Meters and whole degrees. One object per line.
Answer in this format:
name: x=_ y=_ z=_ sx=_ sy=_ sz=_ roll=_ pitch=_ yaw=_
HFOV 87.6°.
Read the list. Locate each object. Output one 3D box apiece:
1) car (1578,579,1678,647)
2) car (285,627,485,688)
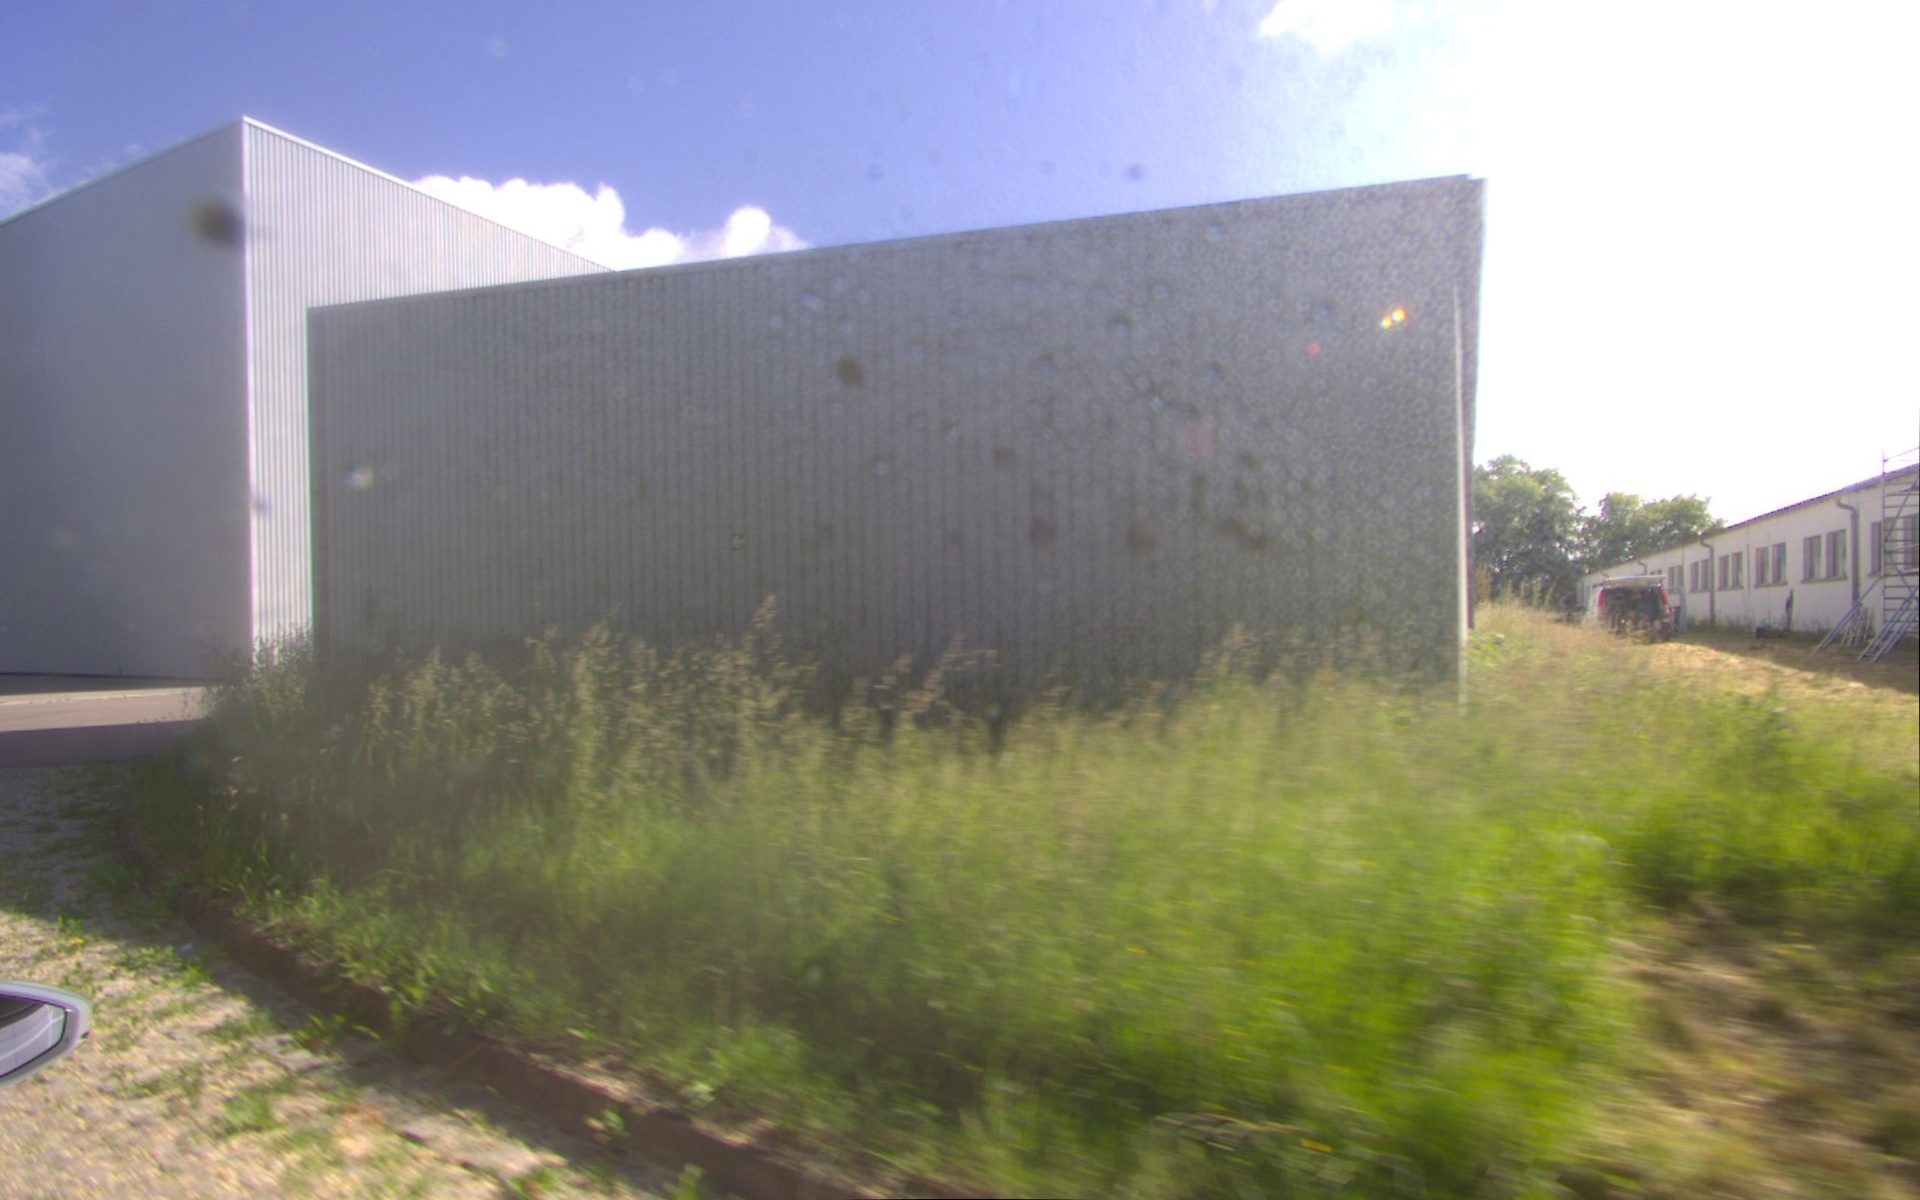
car: x=20.585 y=0.407 z=31.030 sx=2.047 sy=1.853 sz=4.257 roll=-4 pitch=-2 yaw=28
car: x=-14.378 y=1.391 z=25.313 sx=1.727 sy=1.402 sz=4.155 roll=-1 pitch=-2 yaw=26
